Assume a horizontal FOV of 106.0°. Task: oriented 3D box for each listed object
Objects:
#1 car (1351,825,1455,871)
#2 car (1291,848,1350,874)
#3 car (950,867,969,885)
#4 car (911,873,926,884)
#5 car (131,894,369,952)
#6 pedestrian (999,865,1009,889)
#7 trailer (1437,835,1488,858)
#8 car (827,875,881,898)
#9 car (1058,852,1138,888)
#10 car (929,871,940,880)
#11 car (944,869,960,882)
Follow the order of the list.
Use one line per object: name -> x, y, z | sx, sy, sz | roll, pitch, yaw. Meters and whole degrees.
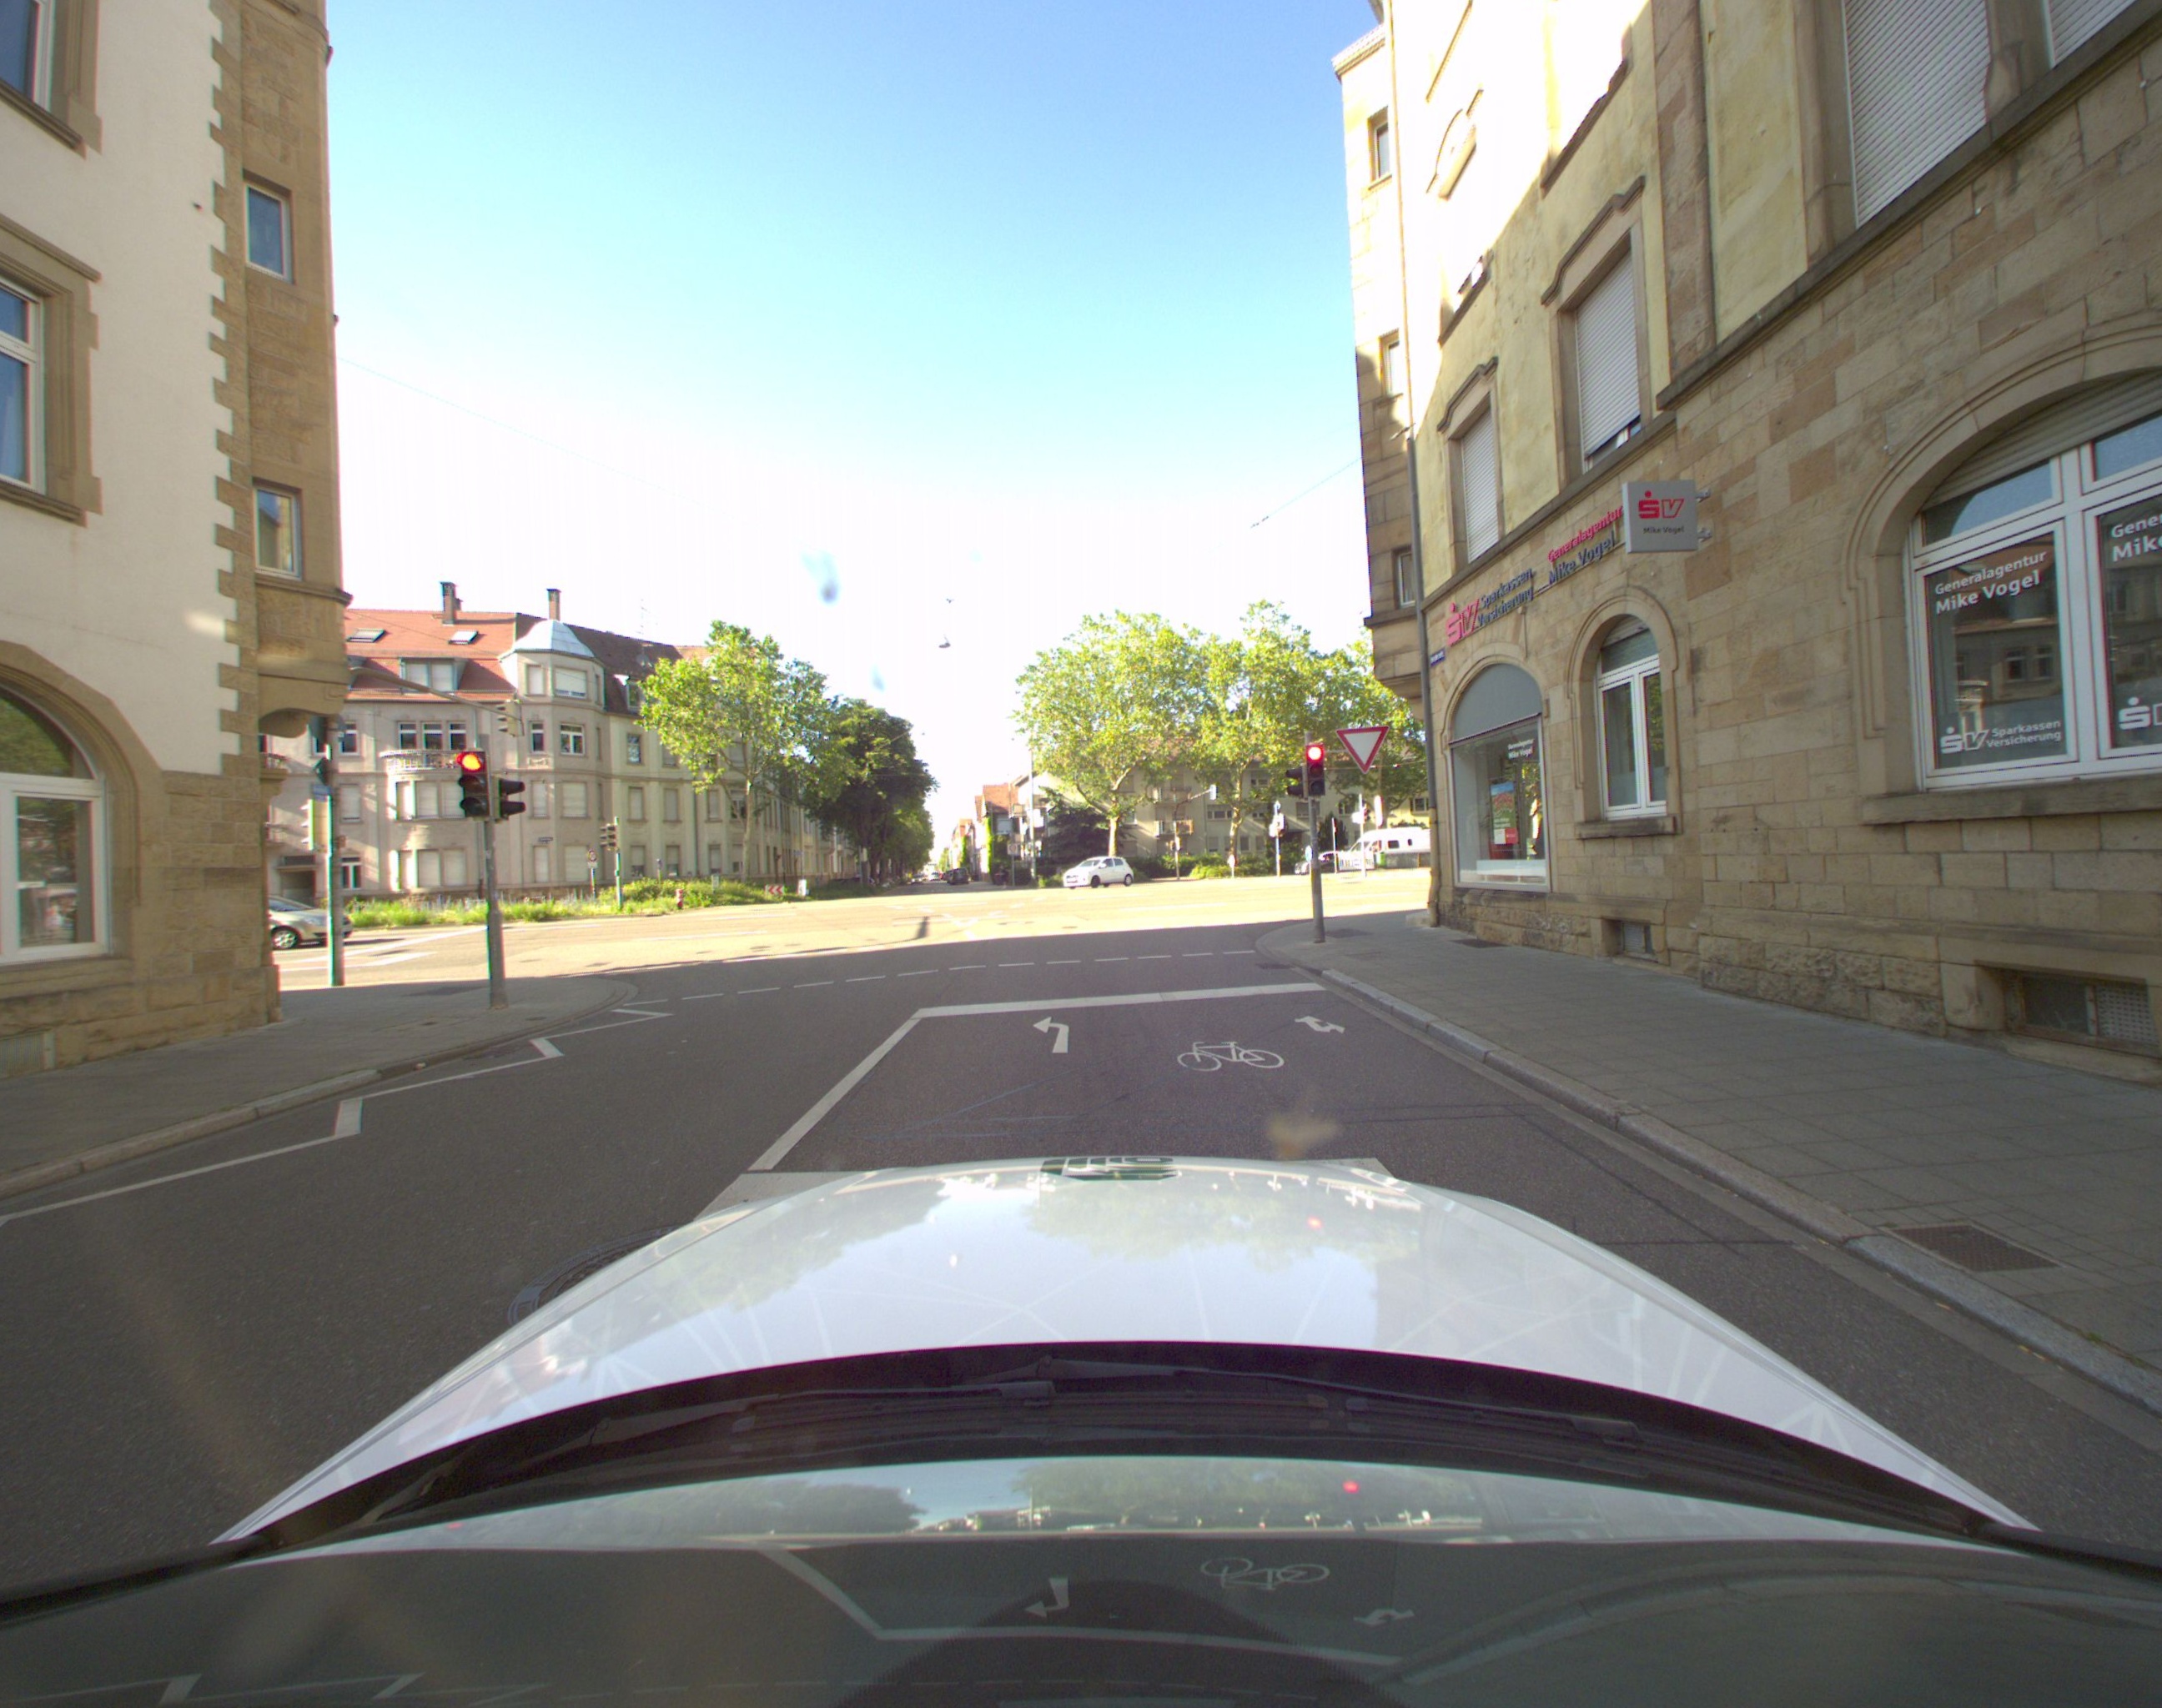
car -> 20.155, -0.376, 50.999 | 6.054, 2.568, 1.989 | -3, 0, -17
car -> 15.577, 0.445, 52.978 | 3.391, 1.487, 1.515 | -3, 0, -20
car -> -14.143, 2.558, 95.198 | 1.992, 2.013, 3.989 | -3, 0, -8
car -> -23.557, 3.485, 117.782 | 1.995, 1.445, 3.983 | -3, 0, -12
car -> -21.775, 1.776, 21.543 | 3.995, 1.319, 1.812 | 0, -2, -16
pedestrian -> -5.700, 1.687, 60.451 | 0.631, 1.750, 0.658 | -2, -1, -2
trailer -> 24.425, -0.497, 52.130 | 2.747, 1.311, 1.263 | -3, 0, -17
car -> -17.891, 2.533, 64.316 | 3.997, 1.486, 1.672 | -3, 0, -17
car -> 0.860, 0.757, 39.363 | 1.609, 1.472, 3.823 | -3, 0, 44
car -> -25.802, 3.784, 143.287 | 1.672, 1.483, 3.514 | -2, -1, -6
car -> -19.945, 3.317, 125.832 | 1.996, 1.833, 3.980 | -1, -1, -14
